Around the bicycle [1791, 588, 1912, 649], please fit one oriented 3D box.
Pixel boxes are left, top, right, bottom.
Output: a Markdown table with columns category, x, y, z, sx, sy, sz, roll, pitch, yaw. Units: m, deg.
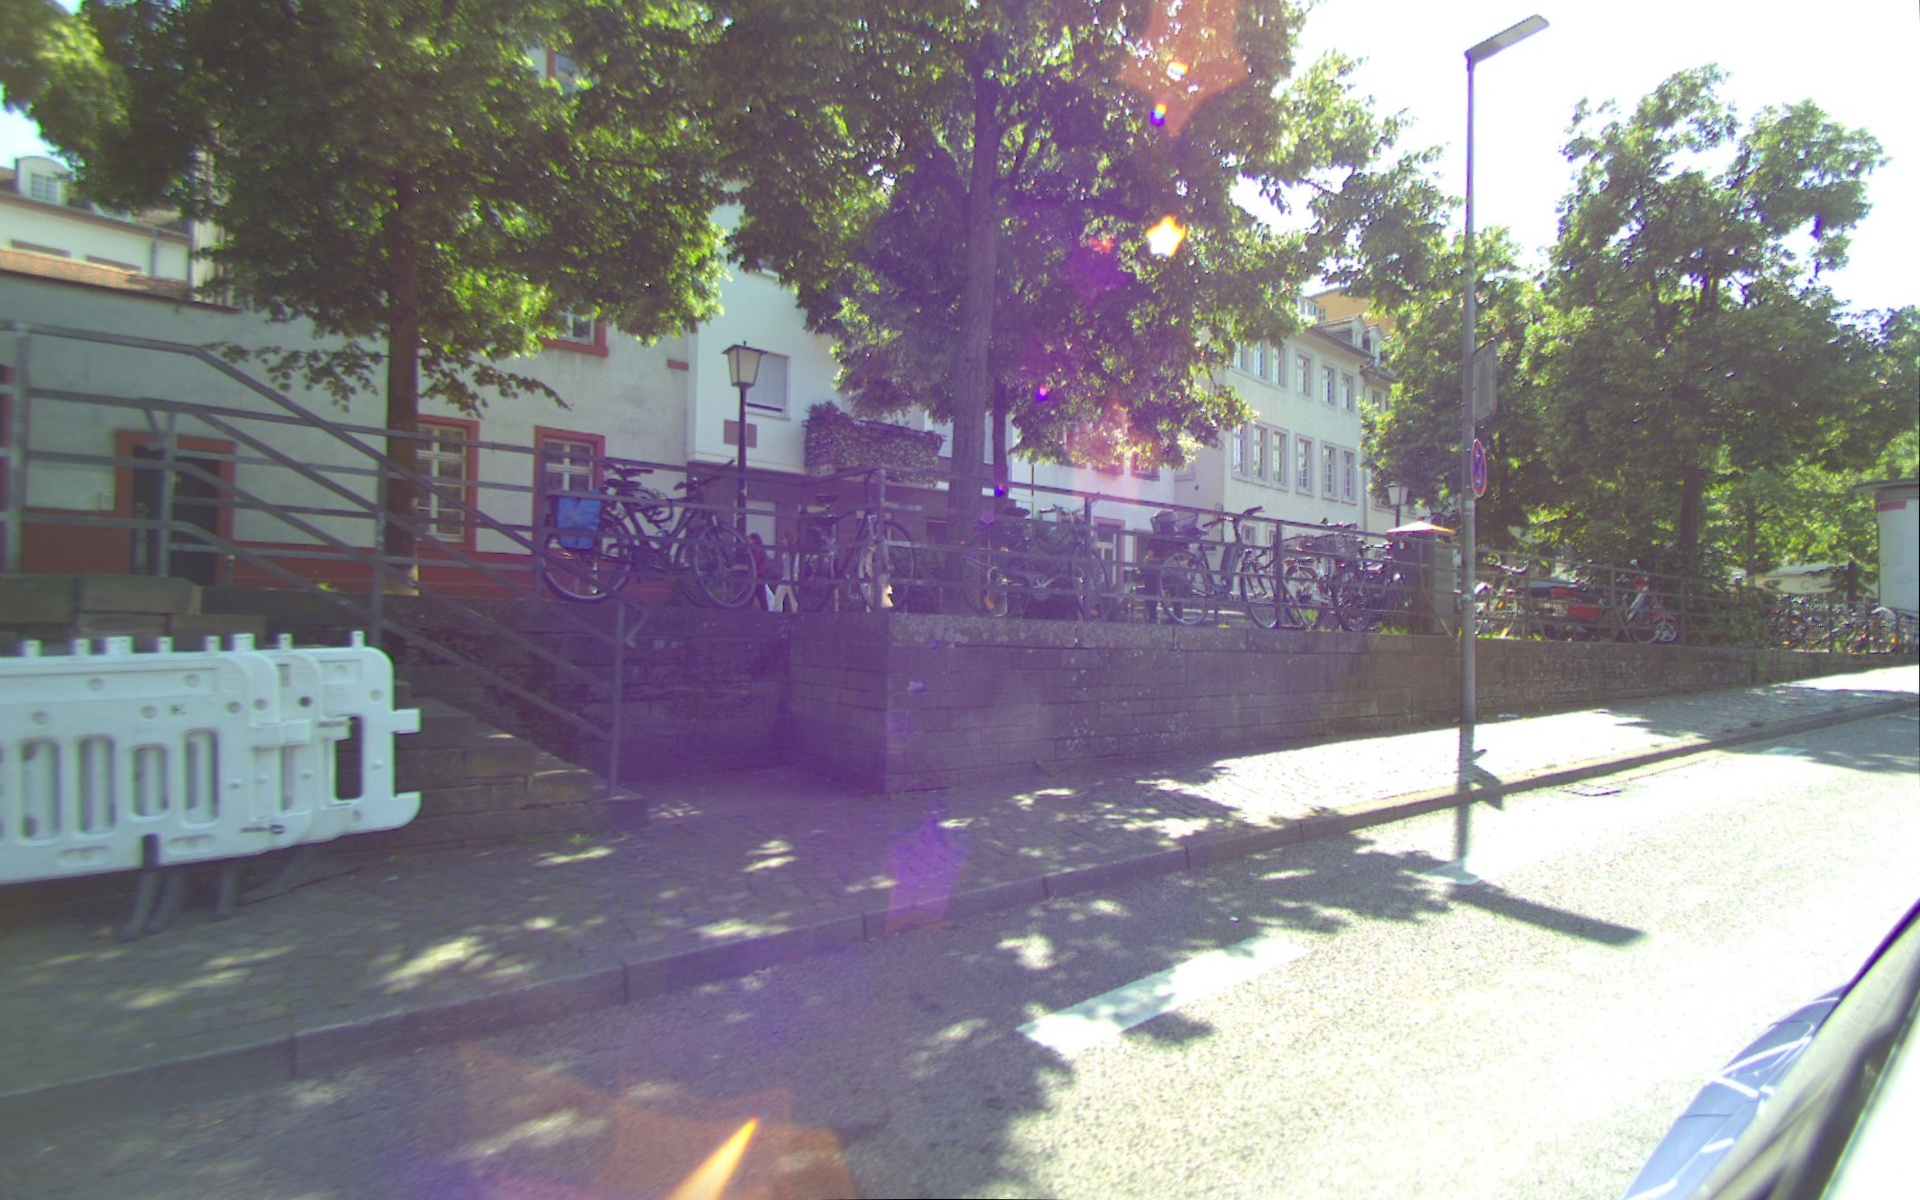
| category | x | y | z | sx | sy | sz | roll | pitch | yaw |
| --- | --- | --- | --- | --- | --- | --- | --- | --- | --- |
| bicycle | 21.905 | 0.422 | 24.915 | 0.468 | 1.385 | 2.162 | 1 | 1 | -36 |

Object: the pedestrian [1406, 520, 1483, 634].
| category | x | y | z | sx | sy | sz | roll | pitch | yaw |
| --- | --- | --- | --- | --- | --- | --- | --- | --- | --- |
| pedestrian | 6.312 | -0.295 | 13.197 | 0.684 | 1.433 | 0.669 | 1 | -1 | -37 |

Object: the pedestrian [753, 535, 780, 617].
| category | x | y | z | sx | sy | sz | roll | pitch | yaw |
| --- | --- | --- | --- | --- | --- | --- | --- | --- | --- |
| pedestrian | -3.600 | -0.436 | 18.824 | 0.319 | 1.503 | 0.345 | -2 | -1 | -34 |

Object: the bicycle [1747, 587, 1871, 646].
| category | x | y | z | sx | sy | sz | roll | pitch | yaw |
| --- | --- | --- | --- | --- | --- | --- | --- | --- | --- |
| bicycle | 19.904 | 0.356 | 23.790 | 0.468 | 1.277 | 2.162 | 1 | 1 | -36 |

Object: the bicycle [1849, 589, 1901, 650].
| category | x | y | z | sx | sy | sz | roll | pitch | yaw |
| --- | --- | --- | --- | --- | --- | --- | --- | --- | --- |
| bicycle | 20.261 | 0.419 | 22.395 | 2.123 | 1.277 | 0.476 | 0 | 1 | -39 |

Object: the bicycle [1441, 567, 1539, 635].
| category | x | y | z | sx | sy | sz | roll | pitch | yaw |
| --- | --- | --- | --- | --- | --- | --- | --- | --- | --- |
| bicycle | 6.577 | 0.021 | 12.509 | 1.884 | 0.794 | 0.350 | 1 | -1 | -39 |

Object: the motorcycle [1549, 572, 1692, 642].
| category | x | y | z | sx | sy | sz | roll | pitch | yaw |
| --- | --- | --- | --- | --- | --- | --- | --- | --- | --- |
| motorcycle | 10.973 | 0.088 | 16.864 | 0.565 | 1.112 | 1.917 | 0 | 1 | -43 |

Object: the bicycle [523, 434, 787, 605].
| category | x | y | z | sx | sy | sz | roll | pitch | yaw |
| --- | --- | --- | --- | --- | --- | --- | --- | --- | --- |
| bicycle | -2.269 | -0.553 | 7.720 | 1.898 | 1.155 | 0.383 | 2 | -1 | -38 |

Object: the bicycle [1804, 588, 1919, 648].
| category | x | y | z | sx | sy | sz | roll | pitch | yaw |
| --- | --- | --- | --- | --- | --- | --- | --- | --- | --- |
| bicycle | 22.744 | 0.427 | 25.513 | 0.573 | 1.385 | 2.162 | 1 | 1 | -36 |

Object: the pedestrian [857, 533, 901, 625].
| category | x | y | z | sx | sy | sz | roll | pitch | yaw |
| --- | --- | --- | --- | --- | --- | --- | --- | --- | --- |
| pedestrian | -1.414 | -0.353 | 17.666 | 0.596 | 1.565 | 0.469 | 1 | -2 | -34 |

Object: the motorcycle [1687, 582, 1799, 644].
| category | x | y | z | sx | sy | sz | roll | pitch | yaw |
| --- | --- | --- | --- | --- | --- | --- | --- | --- | --- |
| motorcycle | 17.903 | 0.271 | 23.211 | 0.635 | 1.329 | 2.166 | 1 | 1 | -8 |

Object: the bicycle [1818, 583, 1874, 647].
| category | x | y | z | sx | sy | sz | roll | pitch | yaw |
| --- | --- | --- | --- | --- | --- | --- | --- | --- | --- |
| bicycle | 18.476 | 0.301 | 21.084 | 2.123 | 1.277 | 0.476 | 0 | 1 | -39 |

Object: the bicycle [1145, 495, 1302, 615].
| category | x | y | z | sx | sy | sz | roll | pitch | yaw |
| --- | --- | --- | --- | --- | --- | --- | --- | --- | --- |
| bicycle | 2.492 | -0.381 | 9.432 | 1.905 | 1.017 | 0.299 | 2 | -1 | -38 |

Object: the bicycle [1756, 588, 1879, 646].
| category | x | y | z | sx | sy | sz | roll | pitch | yaw |
| --- | --- | --- | --- | --- | --- | --- | --- | --- | --- |
| bicycle | 20.306 | 0.383 | 24.010 | 0.413 | 1.277 | 2.162 | 1 | 1 | -36 |

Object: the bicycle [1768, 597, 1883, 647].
| category | x | y | z | sx | sy | sz | roll | pitch | yaw |
| --- | --- | --- | --- | --- | --- | --- | --- | --- | --- |
| bicycle | 20.650 | 0.505 | 24.193 | 0.332 | 1.106 | 2.030 | 1 | 1 | -36 |

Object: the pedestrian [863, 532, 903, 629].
| category | x | y | z | sx | sy | sz | roll | pitch | yaw |
| --- | --- | --- | --- | --- | --- | --- | --- | --- | --- |
| pedestrian | -1.346 | -0.327 | 17.644 | 0.492 | 1.657 | 0.541 | 1 | -2 | -34 |

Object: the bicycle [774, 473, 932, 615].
| category | x | y | z | sx | sy | sz | roll | pitch | yaw |
| --- | --- | --- | --- | --- | --- | --- | --- | --- | --- |
| bicycle | -0.901 | -0.406 | 8.091 | 0.293 | 1.017 | 1.858 | 2 | -1 | -38 |

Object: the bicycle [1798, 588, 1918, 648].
| category | x | y | z | sx | sy | sz | roll | pitch | yaw |
| --- | --- | --- | --- | --- | --- | --- | --- | --- | --- |
| bicycle | 22.311 | 0.424 | 25.203 | 0.468 | 1.385 | 2.162 | 1 | 1 | -36 |

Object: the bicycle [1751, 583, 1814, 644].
| category | x | y | z | sx | sy | sz | roll | pitch | yaw |
| --- | --- | --- | --- | --- | --- | --- | --- | --- | --- |
| bicycle | 15.113 | 0.257 | 18.575 | 2.121 | 1.062 | 0.302 | 2 | 0 | -35 |

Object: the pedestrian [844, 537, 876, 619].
| category | x | y | z | sx | sy | sz | roll | pitch | yaw |
| --- | --- | --- | --- | --- | --- | --- | --- | --- | --- |
| pedestrian | -1.859 | -0.398 | 18.758 | 0.381 | 1.503 | 0.510 | 1 | -2 | -34 |

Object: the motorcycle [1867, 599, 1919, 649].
| category | x | y | z | sx | sy | sz | roll | pitch | yaw |
| --- | --- | --- | --- | --- | --- | --- | --- | --- | --- |
| motorcycle | 24.982 | 0.624 | 26.009 | 0.709 | 1.291 | 2.542 | 1 | 0 | -13 |

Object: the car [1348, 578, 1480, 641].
| category | x | y | z | sx | sy | sz | roll | pitch | yaw |
| --- | --- | --- | --- | --- | --- | --- | --- | --- | --- |
| car | 14.825 | 0.341 | 32.970 | 4.646 | 1.823 | 1.837 | 3 | -2 | -36 |

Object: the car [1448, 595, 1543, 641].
| category | x | y | z | sx | sy | sz | roll | pitch | yaw |
| --- | --- | --- | --- | --- | --- | --- | --- | --- | --- |
| car | 19.019 | 0.656 | 35.920 | 3.493 | 1.497 | 1.589 | 3 | -2 | -36 |

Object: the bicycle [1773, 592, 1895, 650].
| category | x | y | z | sx | sy | sz | roll | pitch | yaw |
| --- | --- | --- | --- | --- | --- | --- | --- | --- | --- |
| bicycle | 21.027 | 0.470 | 24.395 | 0.468 | 1.277 | 2.162 | 1 | 1 | -36 |

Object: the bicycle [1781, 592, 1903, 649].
| category | x | y | z | sx | sy | sz | roll | pitch | yaw |
| --- | --- | --- | --- | --- | --- | --- | --- | --- | --- |
| bicycle | 21.445 | 0.473 | 24.665 | 0.468 | 1.277 | 2.162 | 1 | 1 | -36 |

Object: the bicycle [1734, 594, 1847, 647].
| category | x | y | z | sx | sy | sz | roll | pitch | yaw |
| --- | --- | --- | --- | --- | --- | --- | --- | --- | --- |
| bicycle | 19.073 | 0.442 | 23.285 | 0.415 | 1.114 | 1.956 | 1 | 1 | -36 |

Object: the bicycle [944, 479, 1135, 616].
| category | x | y | z | sx | sy | sz | roll | pitch | yaw |
| --- | --- | --- | --- | --- | --- | --- | --- | --- | --- |
| bicycle | 0.699 | -0.393 | 8.333 | 1.825 | 1.017 | 0.299 | 2 | -1 | -38 |

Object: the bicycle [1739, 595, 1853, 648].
| category | x | y | z | sx | sy | sz | roll | pitch | yaw |
| --- | --- | --- | --- | --- | --- | --- | --- | --- | --- |
| bicycle | 19.436 | 0.475 | 23.568 | 0.468 | 1.126 | 1.969 | 1 | 1 | -36 |

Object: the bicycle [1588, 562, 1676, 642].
| category | x | y | z | sx | sy | sz | roll | pitch | yaw |
| --- | --- | --- | --- | --- | --- | --- | --- | --- | --- |
| bicycle | 9.905 | 0.027 | 14.893 | 1.881 | 1.126 | 0.345 | 0 | 0 | -32 |

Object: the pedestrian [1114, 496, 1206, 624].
| category | x | y | z | sx | sy | sz | roll | pitch | yaw |
| --- | --- | --- | --- | --- | --- | --- | --- | --- | --- |
| pedestrian | 2.100 | -0.401 | 10.633 | 0.658 | 1.281 | 0.696 | 1 | -1 | -40 |
